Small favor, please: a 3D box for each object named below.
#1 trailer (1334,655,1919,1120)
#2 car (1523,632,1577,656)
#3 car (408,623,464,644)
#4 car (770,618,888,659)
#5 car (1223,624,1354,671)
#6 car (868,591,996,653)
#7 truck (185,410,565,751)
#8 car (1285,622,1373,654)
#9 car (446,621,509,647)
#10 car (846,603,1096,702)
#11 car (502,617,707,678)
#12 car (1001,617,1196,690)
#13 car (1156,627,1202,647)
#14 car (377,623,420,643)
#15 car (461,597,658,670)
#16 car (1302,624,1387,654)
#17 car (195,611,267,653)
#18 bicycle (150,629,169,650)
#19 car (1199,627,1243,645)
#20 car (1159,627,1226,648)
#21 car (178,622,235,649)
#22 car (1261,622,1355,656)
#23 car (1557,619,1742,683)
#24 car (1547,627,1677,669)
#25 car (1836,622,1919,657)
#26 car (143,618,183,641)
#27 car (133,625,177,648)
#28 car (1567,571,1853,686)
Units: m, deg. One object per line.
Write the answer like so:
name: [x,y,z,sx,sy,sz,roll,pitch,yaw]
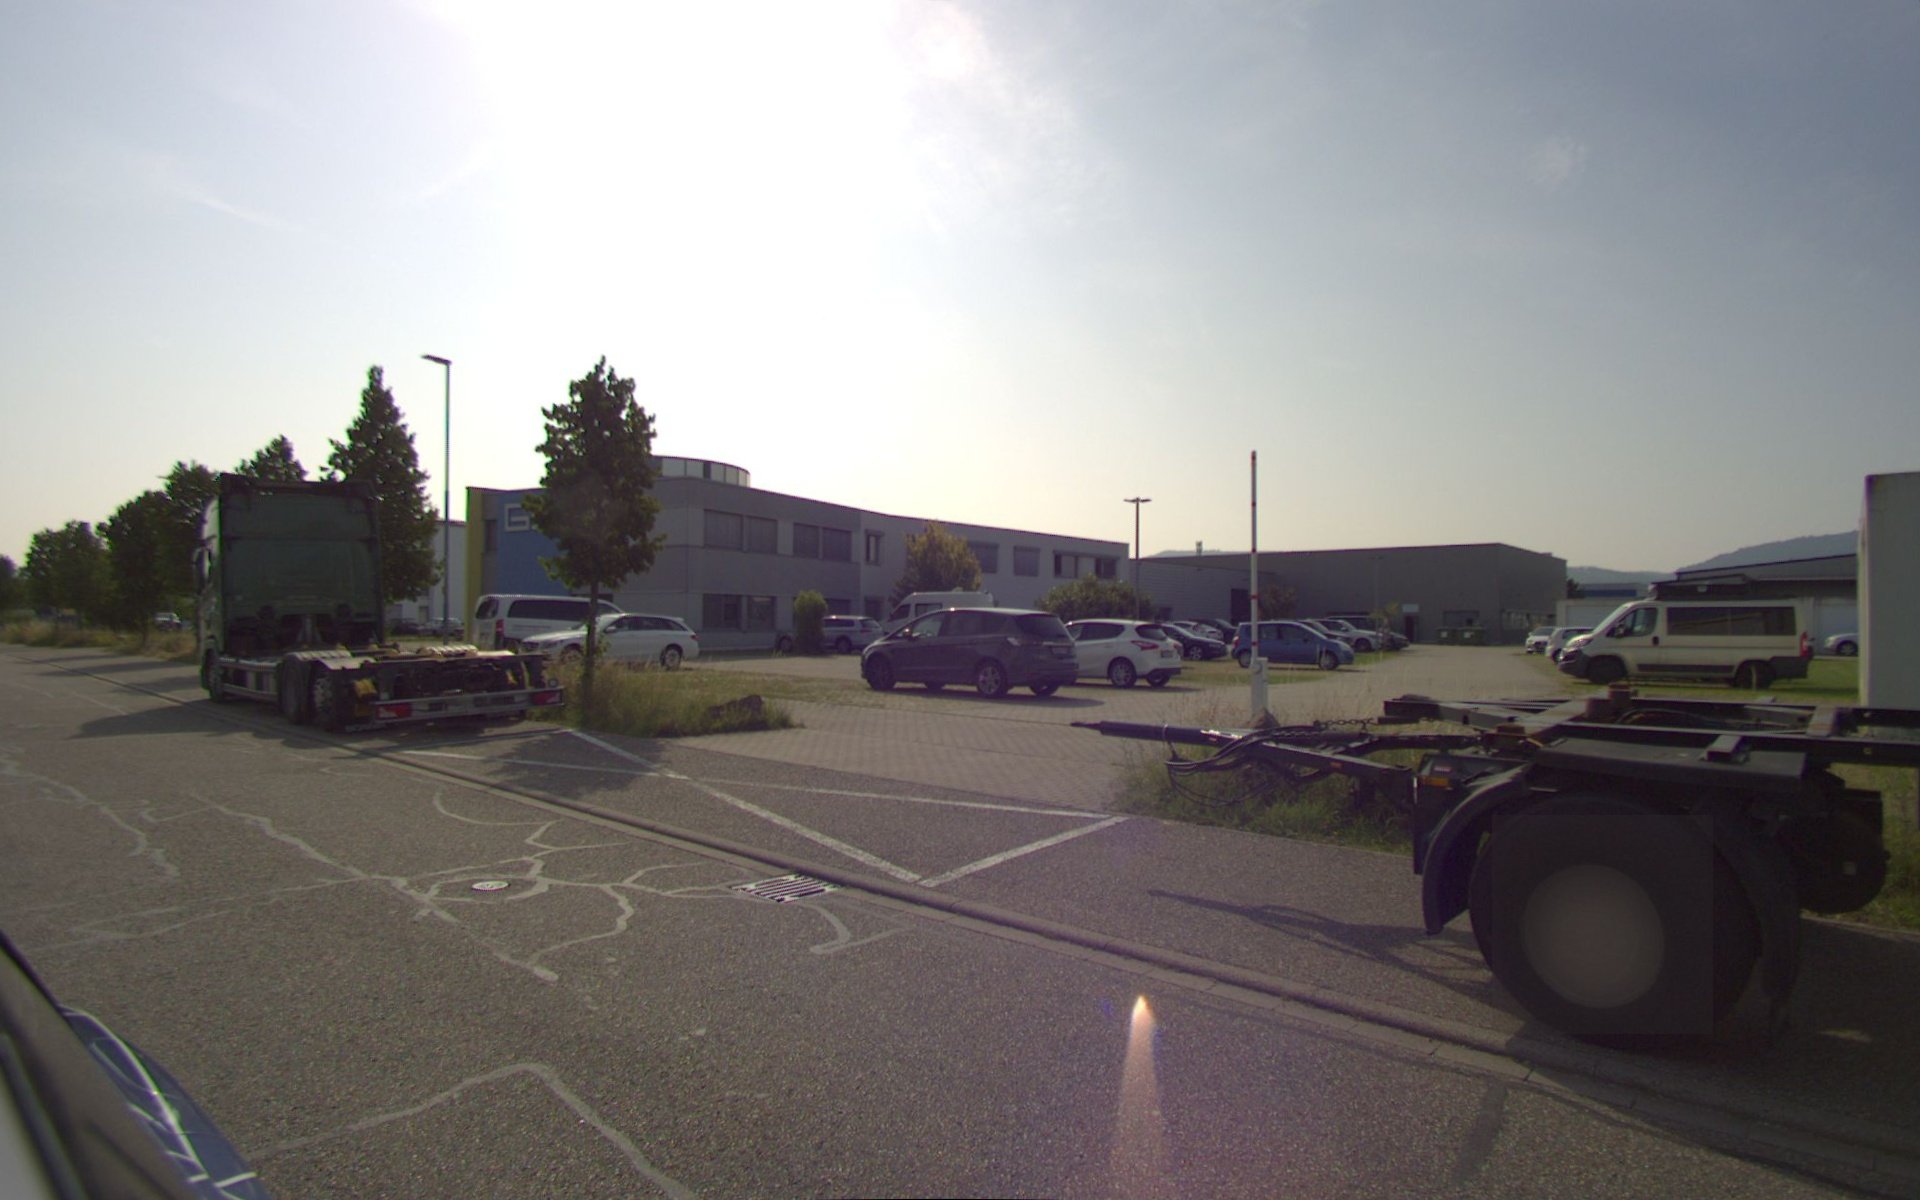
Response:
trailer: [4.875,0.854,2.499,7.157,1.242,2.107,-2,-1,43]
car: [31.470,2.330,53.935,3.628,1.222,1.620,2,-2,-44]
car: [-35.401,2.247,68.302,4.377,1.383,1.715,-1,-2,39]
car: [-5.162,1.481,39.841,4.501,1.492,1.565,0,-1,27]
car: [11.100,1.560,34.170,3.980,1.453,1.884,0,-1,27]
car: [-1.301,0.959,46.206,5.719,2.714,1.696,0,-1,25]
truck: [-9.632,-0.215,15.854,9.803,3.911,2.428,0,0,43]
car: [20.103,2.043,55.261,1.820,1.625,4.154,2,-2,-45]
car: [-28.827,2.014,60.362,4.780,1.472,1.697,-2,-2,42]
car: [0.114,0.972,19.616,4.696,1.699,1.973,-1,-3,40]
car: [-9.135,1.179,26.307,1.999,1.442,4.678,-1,-2,40]
car: [3.129,1.189,23.339,4.210,1.527,1.687,-1,-3,41]
car: [14.028,2.358,64.785,2.706,1.240,1.078,0,-2,33]
car: [-42.830,2.501,77.118,3.918,1.479,1.735,-2,-2,43]
car: [-11.042,0.922,28.177,2.102,1.850,4.654,-1,-2,42]
car: [21.718,2.176,57.227,1.820,1.625,4.154,2,-2,-45]
car: [-36.648,1.614,50.823,4.989,2.029,1.862,-2,-3,42]
bicycle: [-39.045,1.925,49.337,0.534,0.986,1.872,1,-2,-44]
car: [17.691,2.452,68.594,2.706,1.150,1.078,0,-2,33]
car: [15.504,2.497,67.669,3.998,1.381,1.810,-1,-2,41]
car: [-43.718,2.042,58.696,3.915,1.460,1.767,-1,-2,40]
car: [17.755,1.954,51.714,1.820,1.625,4.154,2,-2,-45]
car: [19.043,1.375,28.202,4.137,1.625,1.827,0,-1,31]
car: [24.931,1.806,38.870,4.137,1.492,1.563,0,-1,31]
car: [46.411,1.954,50.504,4.001,1.655,1.845,-2,-2,44]
car: [-65.443,2.437,83.063,4.696,1.852,1.971,-2,-2,44]
car: [-53.035,2.388,66.639,3.918,1.420,1.735,-2,-2,43]
car: [18.108,0.654,24.892,5.440,2.566,2.036,0,-1,31]
